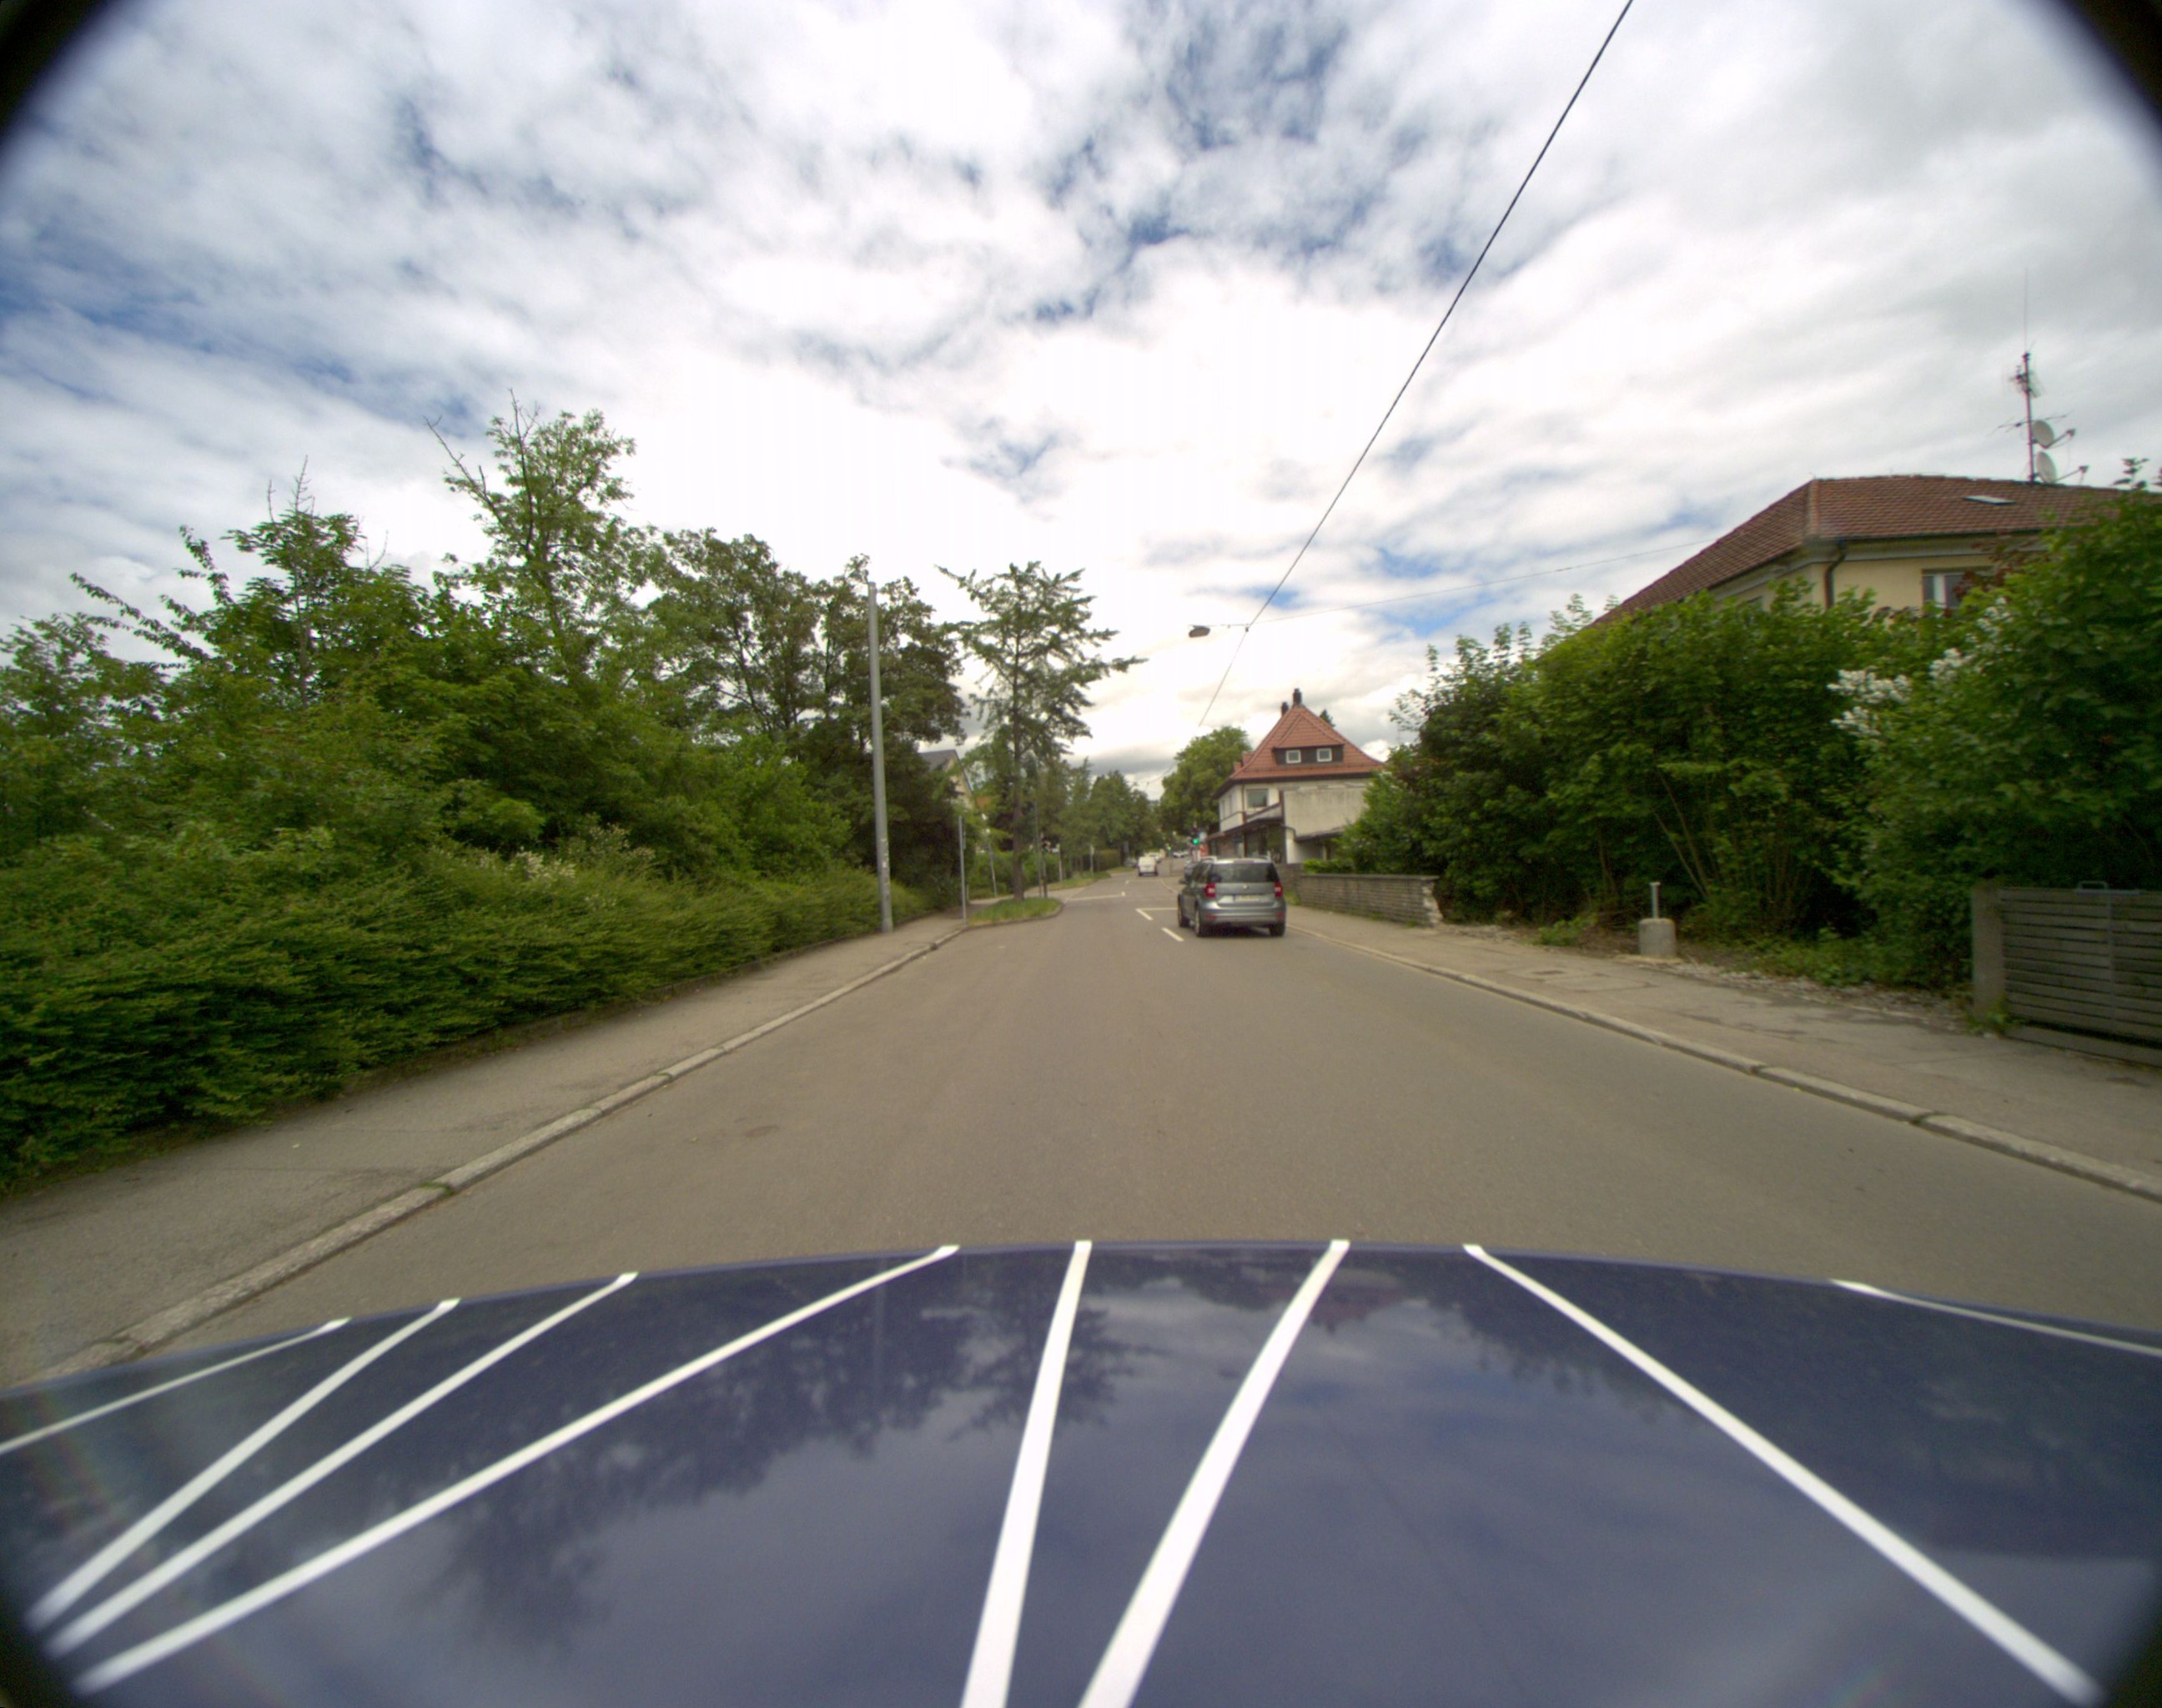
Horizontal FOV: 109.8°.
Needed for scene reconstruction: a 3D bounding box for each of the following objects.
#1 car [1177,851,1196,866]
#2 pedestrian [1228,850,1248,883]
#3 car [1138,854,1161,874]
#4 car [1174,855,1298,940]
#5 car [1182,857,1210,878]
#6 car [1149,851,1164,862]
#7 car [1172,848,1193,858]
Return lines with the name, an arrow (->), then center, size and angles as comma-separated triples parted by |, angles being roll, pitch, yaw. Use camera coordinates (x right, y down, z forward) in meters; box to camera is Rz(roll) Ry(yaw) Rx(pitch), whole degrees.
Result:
car -> 12.785, 0.567, 92.411 | 1.771, 1.668, 4.000 | -5, 0, 1
pedestrian -> 8.651, 0.697, 41.887 | 0.821, 1.734, 0.604 | -5, 1, 2
car -> 6.953, 0.986, 77.814 | 1.885, 1.905, 4.833 | -4, 0, 1
car -> 3.276, 0.850, 16.871 | 1.845, 1.646, 4.138 | 0, 0, -1
car -> 8.838, 1.034, 58.248 | 1.822, 1.343, 3.394 | -5, 0, 12
car -> 13.130, 0.379, 132.270 | 1.998, 1.686, 4.000 | -5, 0, 1
car -> 21.043, -0.306, 158.141 | 3.993, 1.729, 2.002 | -5, 0, 14
